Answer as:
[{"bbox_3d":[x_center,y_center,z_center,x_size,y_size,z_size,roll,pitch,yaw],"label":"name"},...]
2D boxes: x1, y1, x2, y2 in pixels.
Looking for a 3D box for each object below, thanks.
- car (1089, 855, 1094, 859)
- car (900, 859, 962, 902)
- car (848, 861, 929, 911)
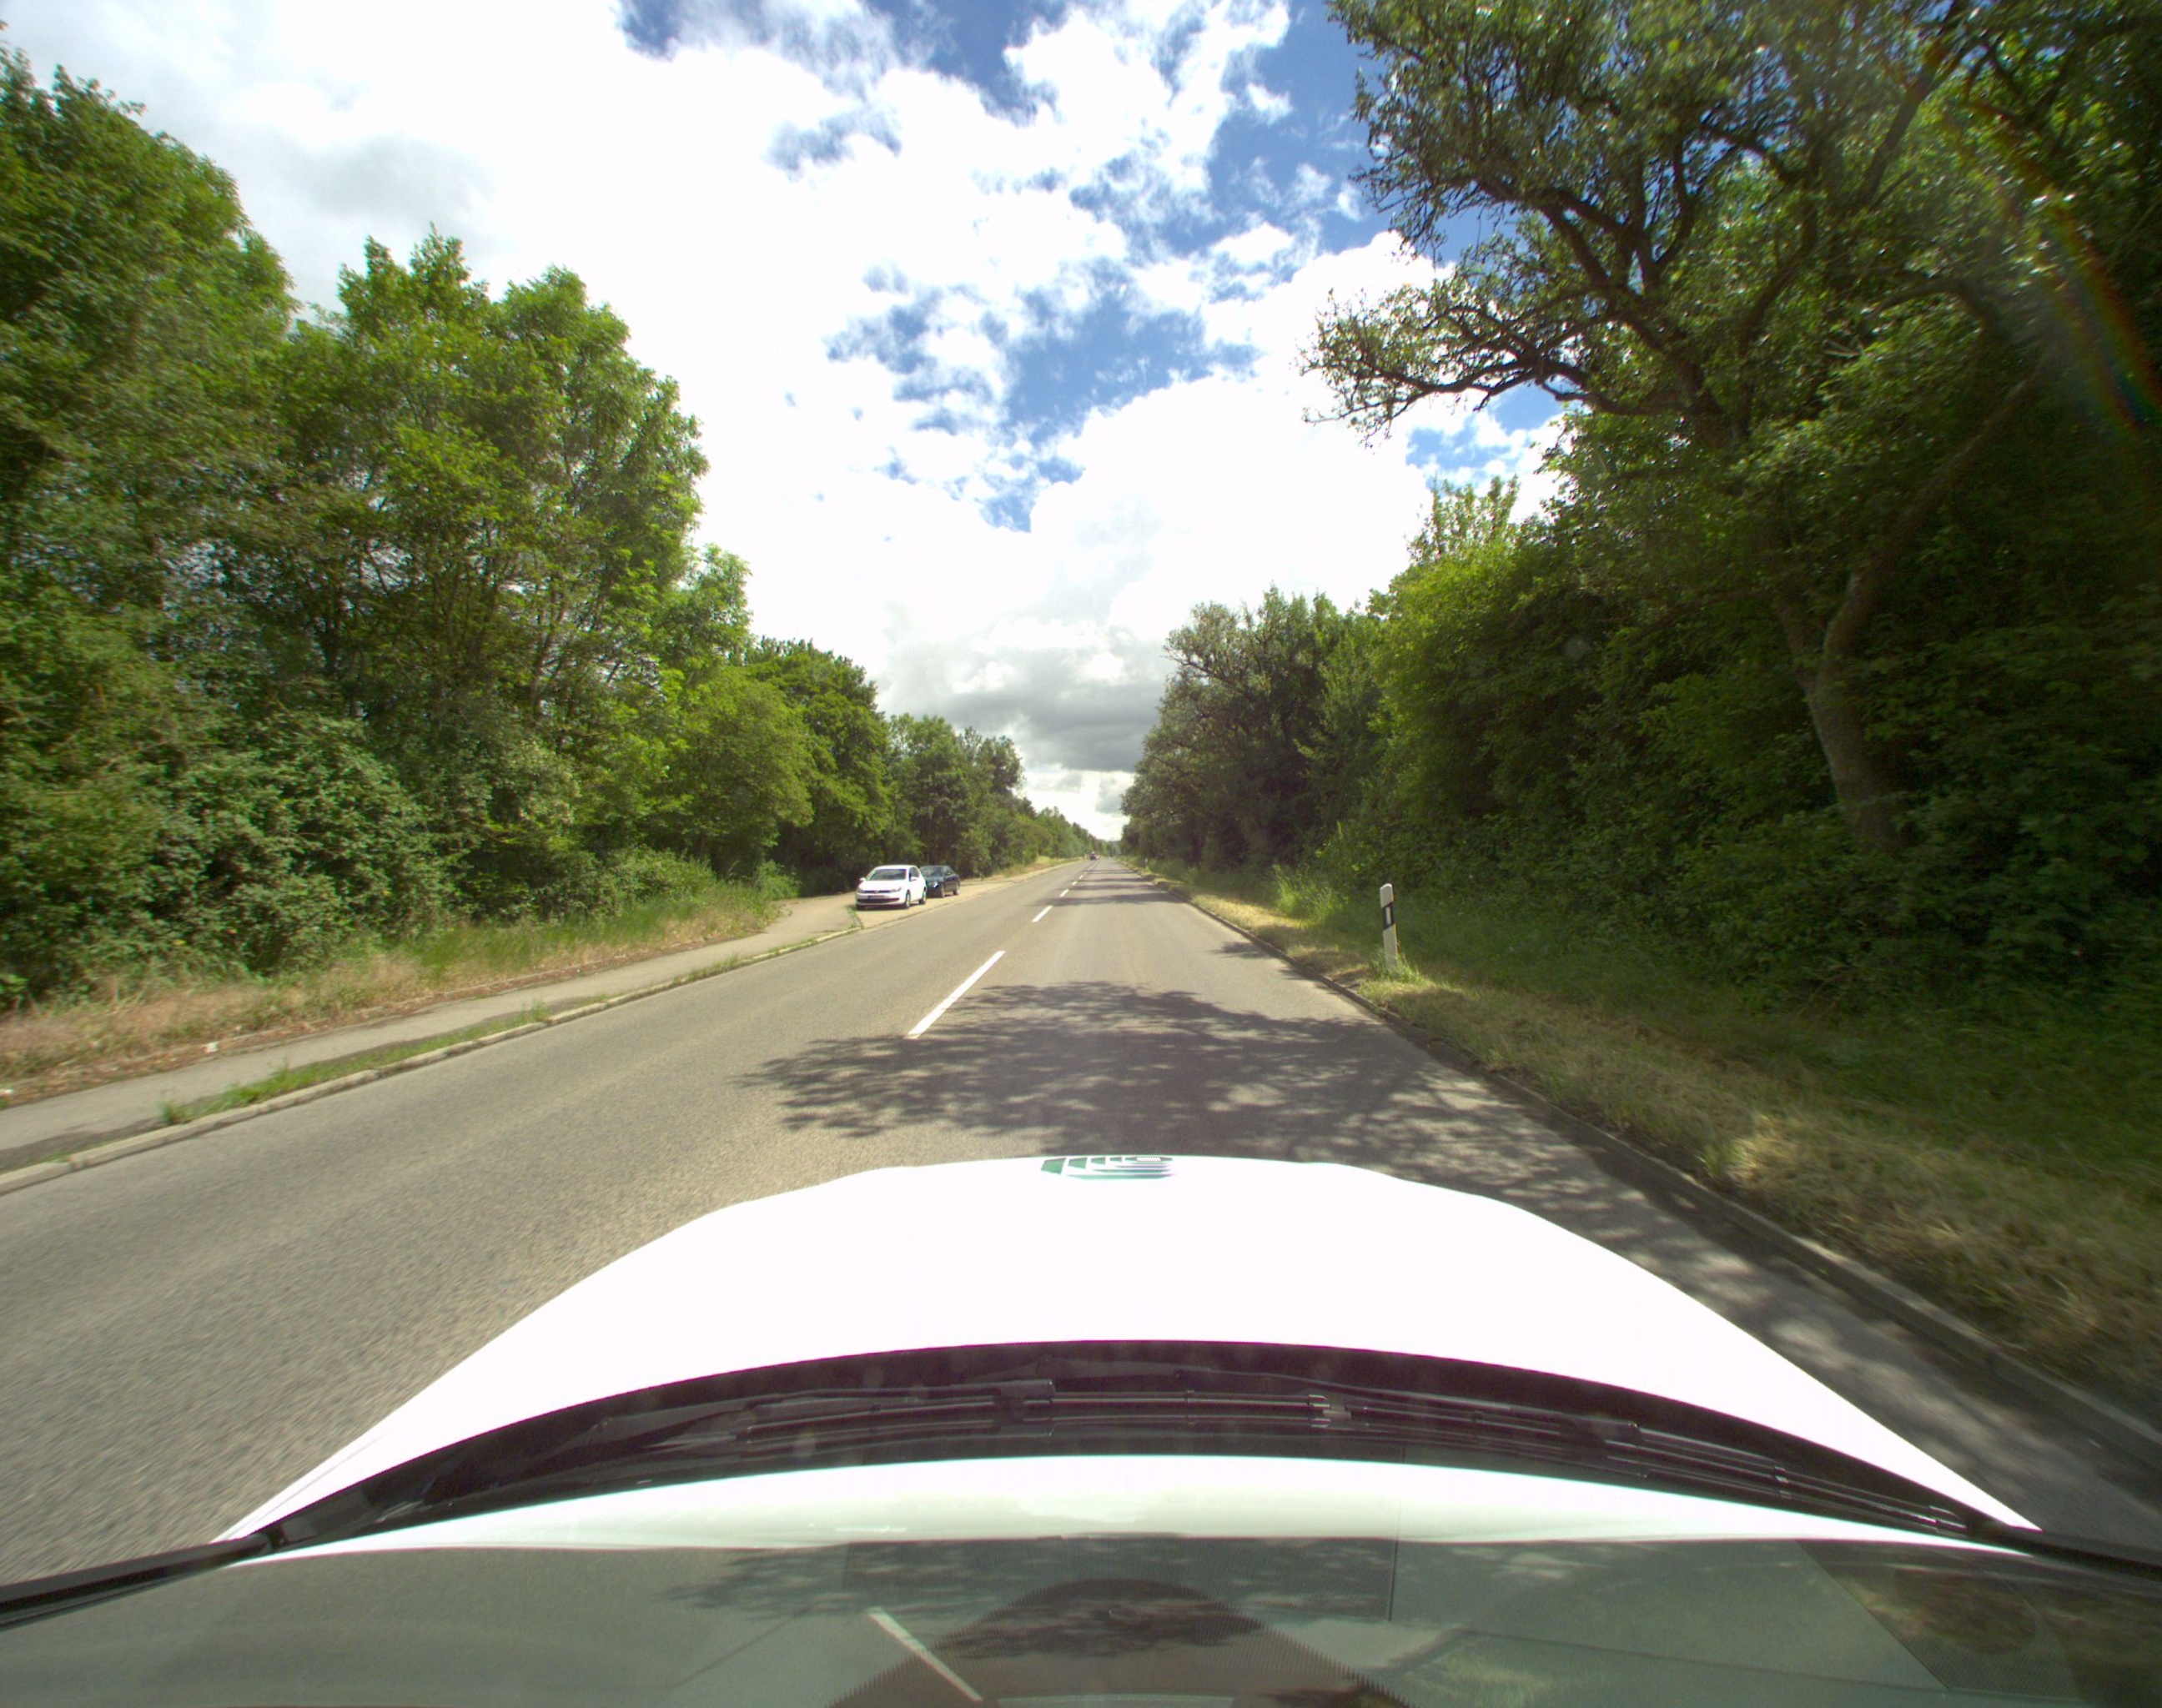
[{"bbox_3d":[3.307,1.030,251.204,1.386,1.200,3.017,-3,0,2],"label":"car"},{"bbox_3d":[-6.596,1.120,36.192,1.791,1.625,3.958,-2,1,3],"label":"car"},{"bbox_3d":[-6.709,1.068,28.816,1.791,1.543,3.956,-1,0,2],"label":"car"}]
